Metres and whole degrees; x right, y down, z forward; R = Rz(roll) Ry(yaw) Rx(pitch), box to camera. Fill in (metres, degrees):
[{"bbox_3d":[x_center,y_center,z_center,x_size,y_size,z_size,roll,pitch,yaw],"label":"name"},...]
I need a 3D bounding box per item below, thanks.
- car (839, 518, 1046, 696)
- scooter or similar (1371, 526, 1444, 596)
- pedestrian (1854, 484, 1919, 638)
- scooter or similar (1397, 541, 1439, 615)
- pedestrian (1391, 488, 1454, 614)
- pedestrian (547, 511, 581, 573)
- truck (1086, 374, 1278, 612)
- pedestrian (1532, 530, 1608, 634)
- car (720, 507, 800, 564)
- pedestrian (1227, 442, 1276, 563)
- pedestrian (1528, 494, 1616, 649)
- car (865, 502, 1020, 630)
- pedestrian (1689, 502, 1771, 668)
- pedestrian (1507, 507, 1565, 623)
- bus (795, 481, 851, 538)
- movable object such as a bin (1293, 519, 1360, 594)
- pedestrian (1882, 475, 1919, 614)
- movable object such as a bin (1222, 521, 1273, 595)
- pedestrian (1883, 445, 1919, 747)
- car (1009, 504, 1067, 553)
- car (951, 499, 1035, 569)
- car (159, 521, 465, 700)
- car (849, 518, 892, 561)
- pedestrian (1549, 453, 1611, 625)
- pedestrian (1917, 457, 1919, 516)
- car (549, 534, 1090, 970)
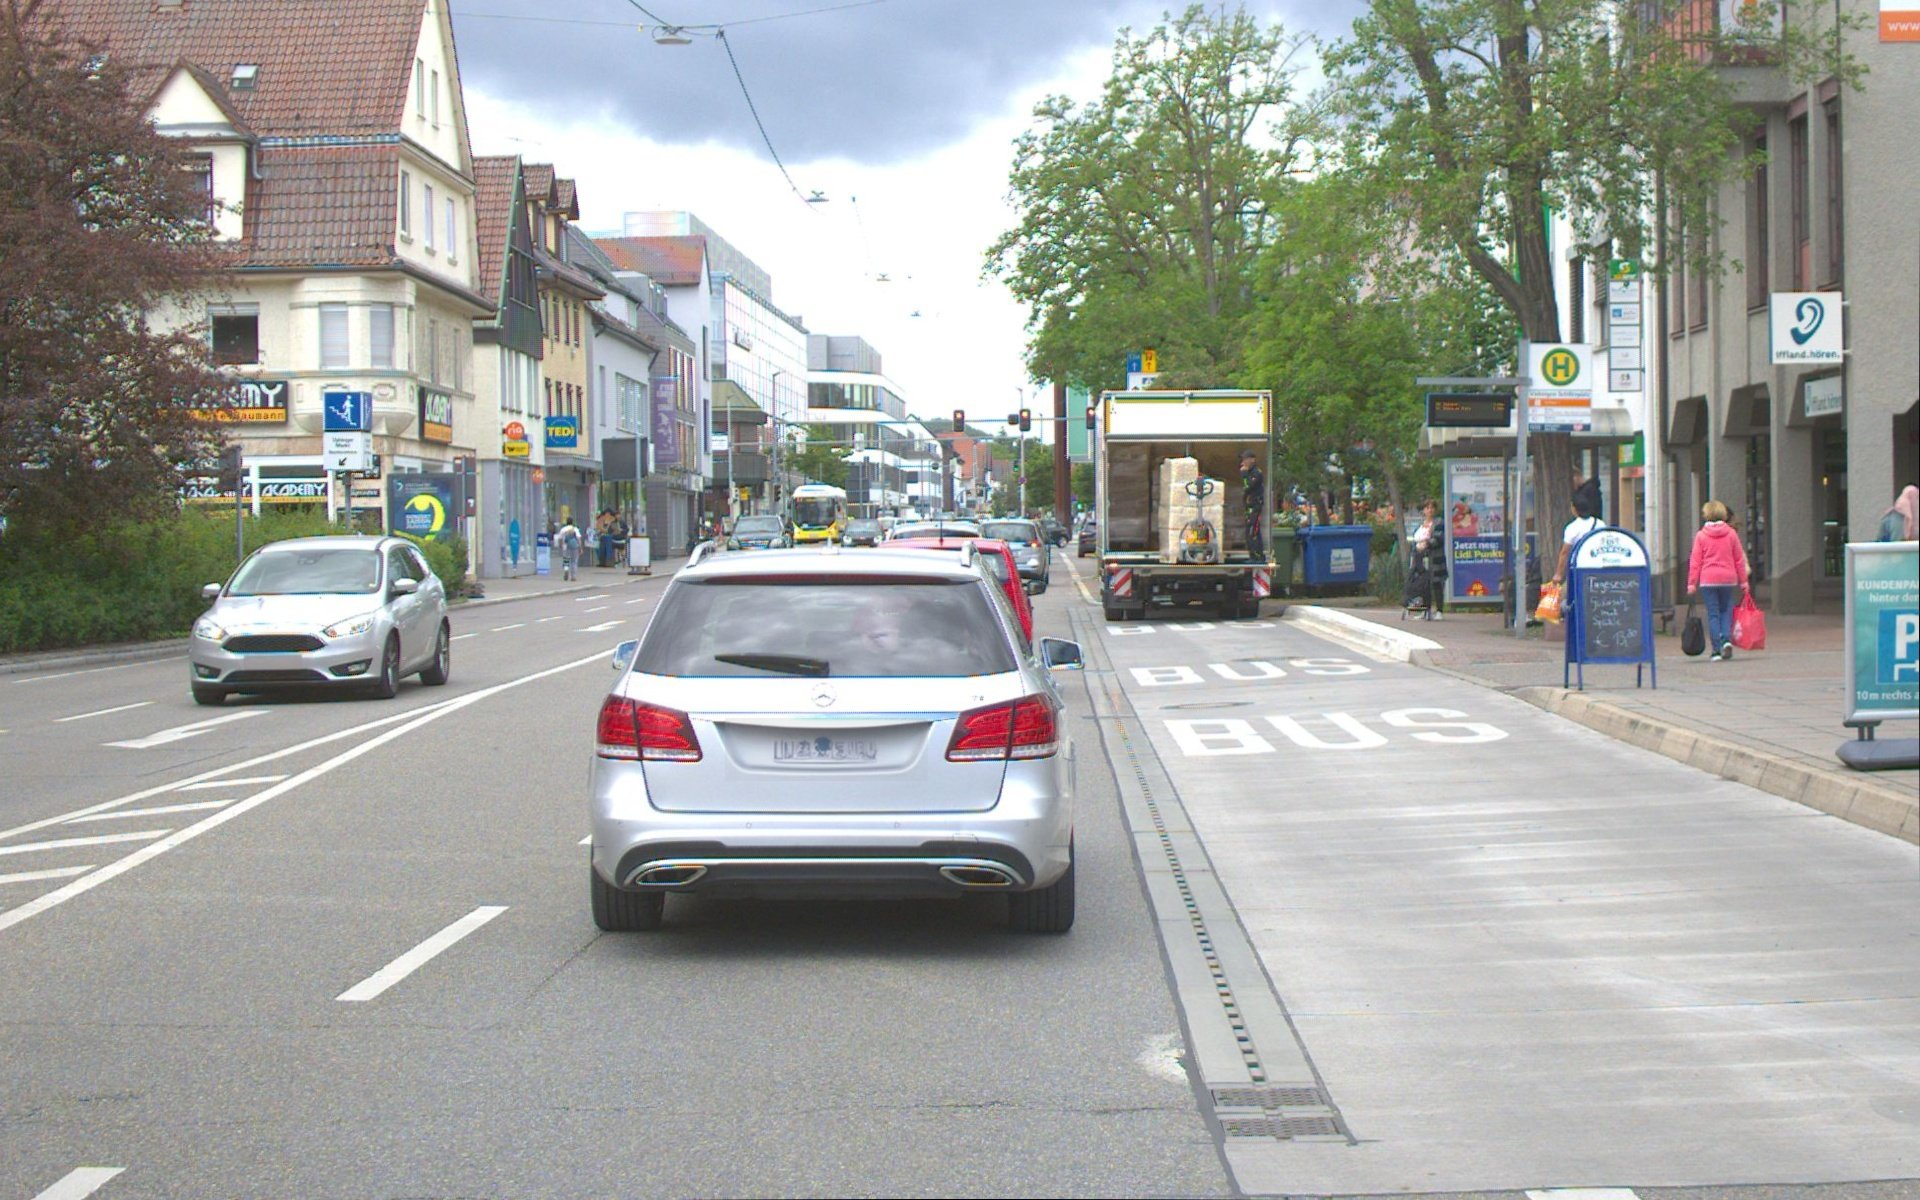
[{"bbox_3d":[-0.100,0.076,31.810,1.754,1.516,4.000,-1,-1,2],"label":"car"},{"bbox_3d":[7.757,-0.678,59.611,1.175,1.192,0.460,-1,1,-7],"label":"scooter or similar"},{"bbox_3d":[9.914,-0.418,36.720,0.586,1.629,0.615,0,2,3],"label":"pedestrian"},{"bbox_3d":[5.982,-0.286,44.902,0.384,0.955,0.355,-2,2,-39],"label":"scooter or similar"},{"bbox_3d":[6.093,-0.645,45.286,0.534,1.629,0.588,2,2,-23],"label":"pedestrian"},{"bbox_3d":[-10.670,-1.570,92.683,0.816,1.629,0.980,1,1,-4],"label":"pedestrian"},{"bbox_3d":[3.519,-1.744,56.615,2.688,3.549,9.767,-1,2,1],"label":"truck"},{"bbox_3d":[6.941,-0.204,39.115,0.711,1.162,0.588,0,2,-5],"label":"pedestrian"},{"bbox_3d":[-6.542,-2.131,112.887,2.069,1.732,4.693,-2,1,3],"label":"car"},{"bbox_3d":[4.318,-1.442,50.932,0.613,1.774,0.588,-1,0,-2],"label":"pedestrian"},{"bbox_3d":[6.557,-0.315,36.847,0.613,1.629,0.794,-1,2,-21],"label":"pedestrian"},{"bbox_3d":[-0.202,-0.503,47.756,1.993,1.678,4.000,0,1,2],"label":"car"},{"bbox_3d":[7.428,-0.155,33.166,0.673,1.562,0.491,2,3,22],"label":"pedestrian"},{"bbox_3d":[7.146,-0.436,42.662,0.613,1.396,0.587,-2,1,15],"label":"pedestrian"},{"bbox_3d":[-7.883,-5.209,197.845,2.775,3.154,5.933,0,1,2],"label":"bus"},{"bbox_3d":[6.688,-0.805,62.827,1.143,1.335,1.376,-1,1,3],"label":"movable object such as a bin"},{"bbox_3d":[11.354,-0.659,40.596,0.725,1.629,0.615,-1,2,-7],"label":"pedestrian"},{"bbox_3d":[5.272,-0.781,63.081,0.881,1.335,1.085,-1,1,3],"label":"movable object such as a bin"},{"bbox_3d":[5.460,-0.032,18.797,0.612,1.629,0.615,-1,1,-1],"label":"pedestrian"},{"bbox_3d":[2.752,-2.543,120.988,1.993,1.678,4.000,0,1,2],"label":"car"},{"bbox_3d":[0.839,-1.656,85.736,1.993,1.678,4.000,0,1,2],"label":"car"},{"bbox_3d":[-5.954,0.055,32.097,1.874,1.501,4.343,-2,1,2],"label":"car"},{"bbox_3d":[-3.373,-2.288,129.696,1.570,1.535,2.961,1,1,-1],"label":"car"},{"bbox_3d":[7.505,-0.736,41.603,0.613,2.040,0.587,-2,1,15],"label":"pedestrian"},{"bbox_3d":[7.210,-0.161,24.065,0.682,1.736,0.782,-3,0,-4],"label":"pedestrian"},{"bbox_3d":[-0.503,0.490,13.927,1.874,1.501,4.000,0,1,0],"label":"car"}]
